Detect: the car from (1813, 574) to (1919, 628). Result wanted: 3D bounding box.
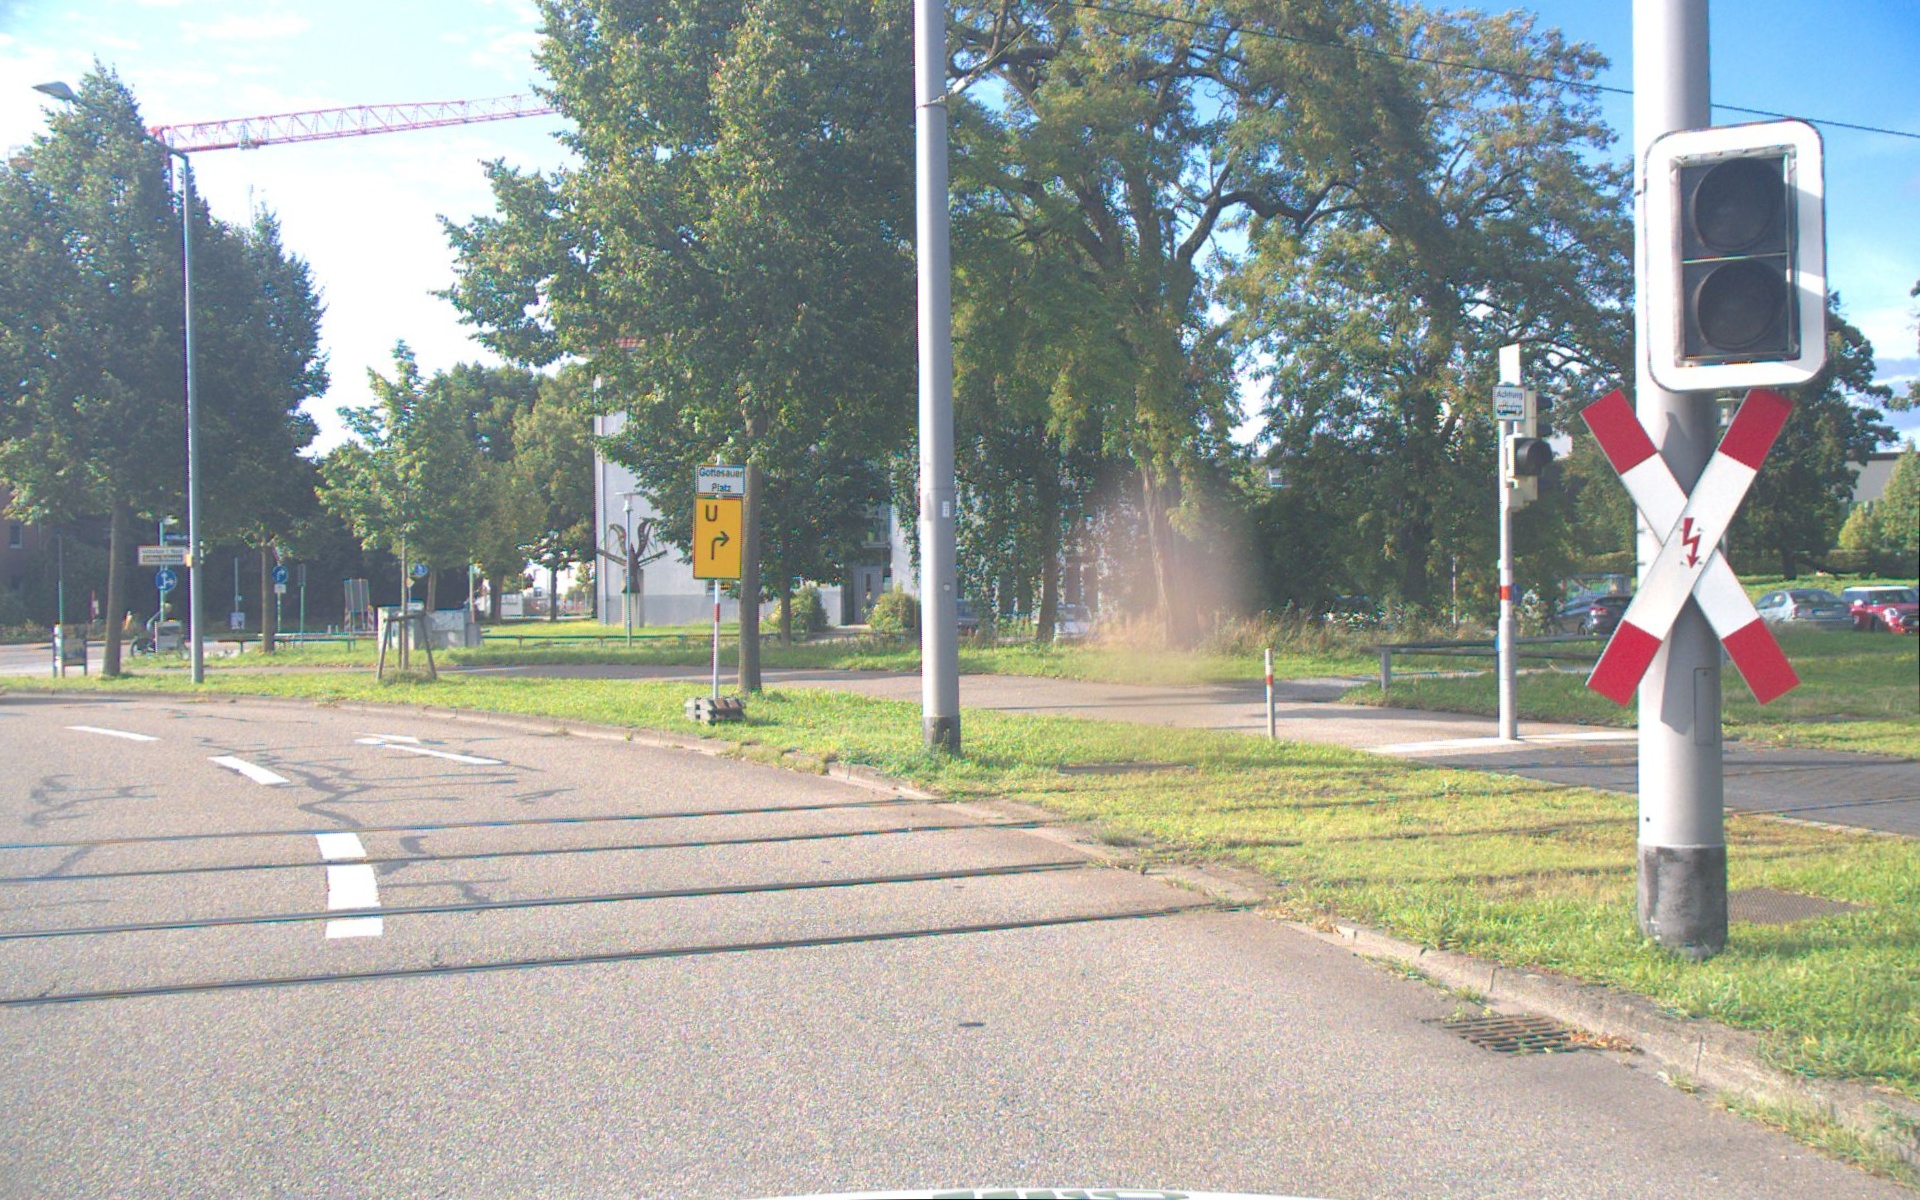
[{"bbox_3d":[24.989,0.011,44.675,1.816,1.386,4.471,-1,0,4],"label":"car"}]

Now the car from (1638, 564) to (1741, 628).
[{"bbox_3d":[24.858,-0.091,56.529,1.832,2.049,4.813,1,-1,6],"label":"car"}]

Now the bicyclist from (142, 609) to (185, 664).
[{"bbox_3d":[-23.668,1.080,49.162,0.939,1.602,0.771,-1,0,-8],"label":"bicyclist"}]

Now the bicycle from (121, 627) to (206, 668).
[{"bbox_3d":[-23.656,1.406,49.162,2.103,1.157,0.771,-1,0,-8],"label":"bicycle"}]

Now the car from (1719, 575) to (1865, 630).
[{"bbox_3d":[22.502,0.062,44.945,1.816,1.382,4.836,-1,0,4],"label":"car"}]

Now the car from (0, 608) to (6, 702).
[{"bbox_3d":[-18.518,0.940,28.795,4.369,1.600,1.848,0,0,38],"label":"car"}]

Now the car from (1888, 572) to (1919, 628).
[{"bbox_3d":[27.064,-0.015,44.376,1.816,1.542,4.948,-1,0,4],"label":"car"}]

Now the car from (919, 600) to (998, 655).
[{"bbox_3d":[0.001,0.722,45.489,1.816,1.405,4.517,-1,0,4],"label":"car"}]

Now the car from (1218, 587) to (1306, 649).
[{"bbox_3d":[8.161,0.461,45.026,1.816,1.542,4.736,-1,0,4],"label":"car"}]

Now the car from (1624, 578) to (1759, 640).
[{"bbox_3d":[19.680,0.231,44.709,1.816,1.542,4.750,-1,0,4],"label":"car"}]

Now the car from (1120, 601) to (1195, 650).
[{"bbox_3d":[5.418,0.677,45.833,1.816,1.228,4.736,-1,0,4],"label":"car"}]

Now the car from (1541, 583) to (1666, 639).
[{"bbox_3d":[17.315,0.279,44.737,1.816,1.383,4.736,-1,0,4],"label":"car"}]

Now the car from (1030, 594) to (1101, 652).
[{"bbox_3d":[2.936,0.594,45.610,1.816,1.465,4.736,-1,0,4],"label":"car"}]

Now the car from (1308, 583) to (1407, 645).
[{"bbox_3d":[10.727,0.355,44.922,1.816,1.542,4.736,-1,0,4],"label":"car"}]
